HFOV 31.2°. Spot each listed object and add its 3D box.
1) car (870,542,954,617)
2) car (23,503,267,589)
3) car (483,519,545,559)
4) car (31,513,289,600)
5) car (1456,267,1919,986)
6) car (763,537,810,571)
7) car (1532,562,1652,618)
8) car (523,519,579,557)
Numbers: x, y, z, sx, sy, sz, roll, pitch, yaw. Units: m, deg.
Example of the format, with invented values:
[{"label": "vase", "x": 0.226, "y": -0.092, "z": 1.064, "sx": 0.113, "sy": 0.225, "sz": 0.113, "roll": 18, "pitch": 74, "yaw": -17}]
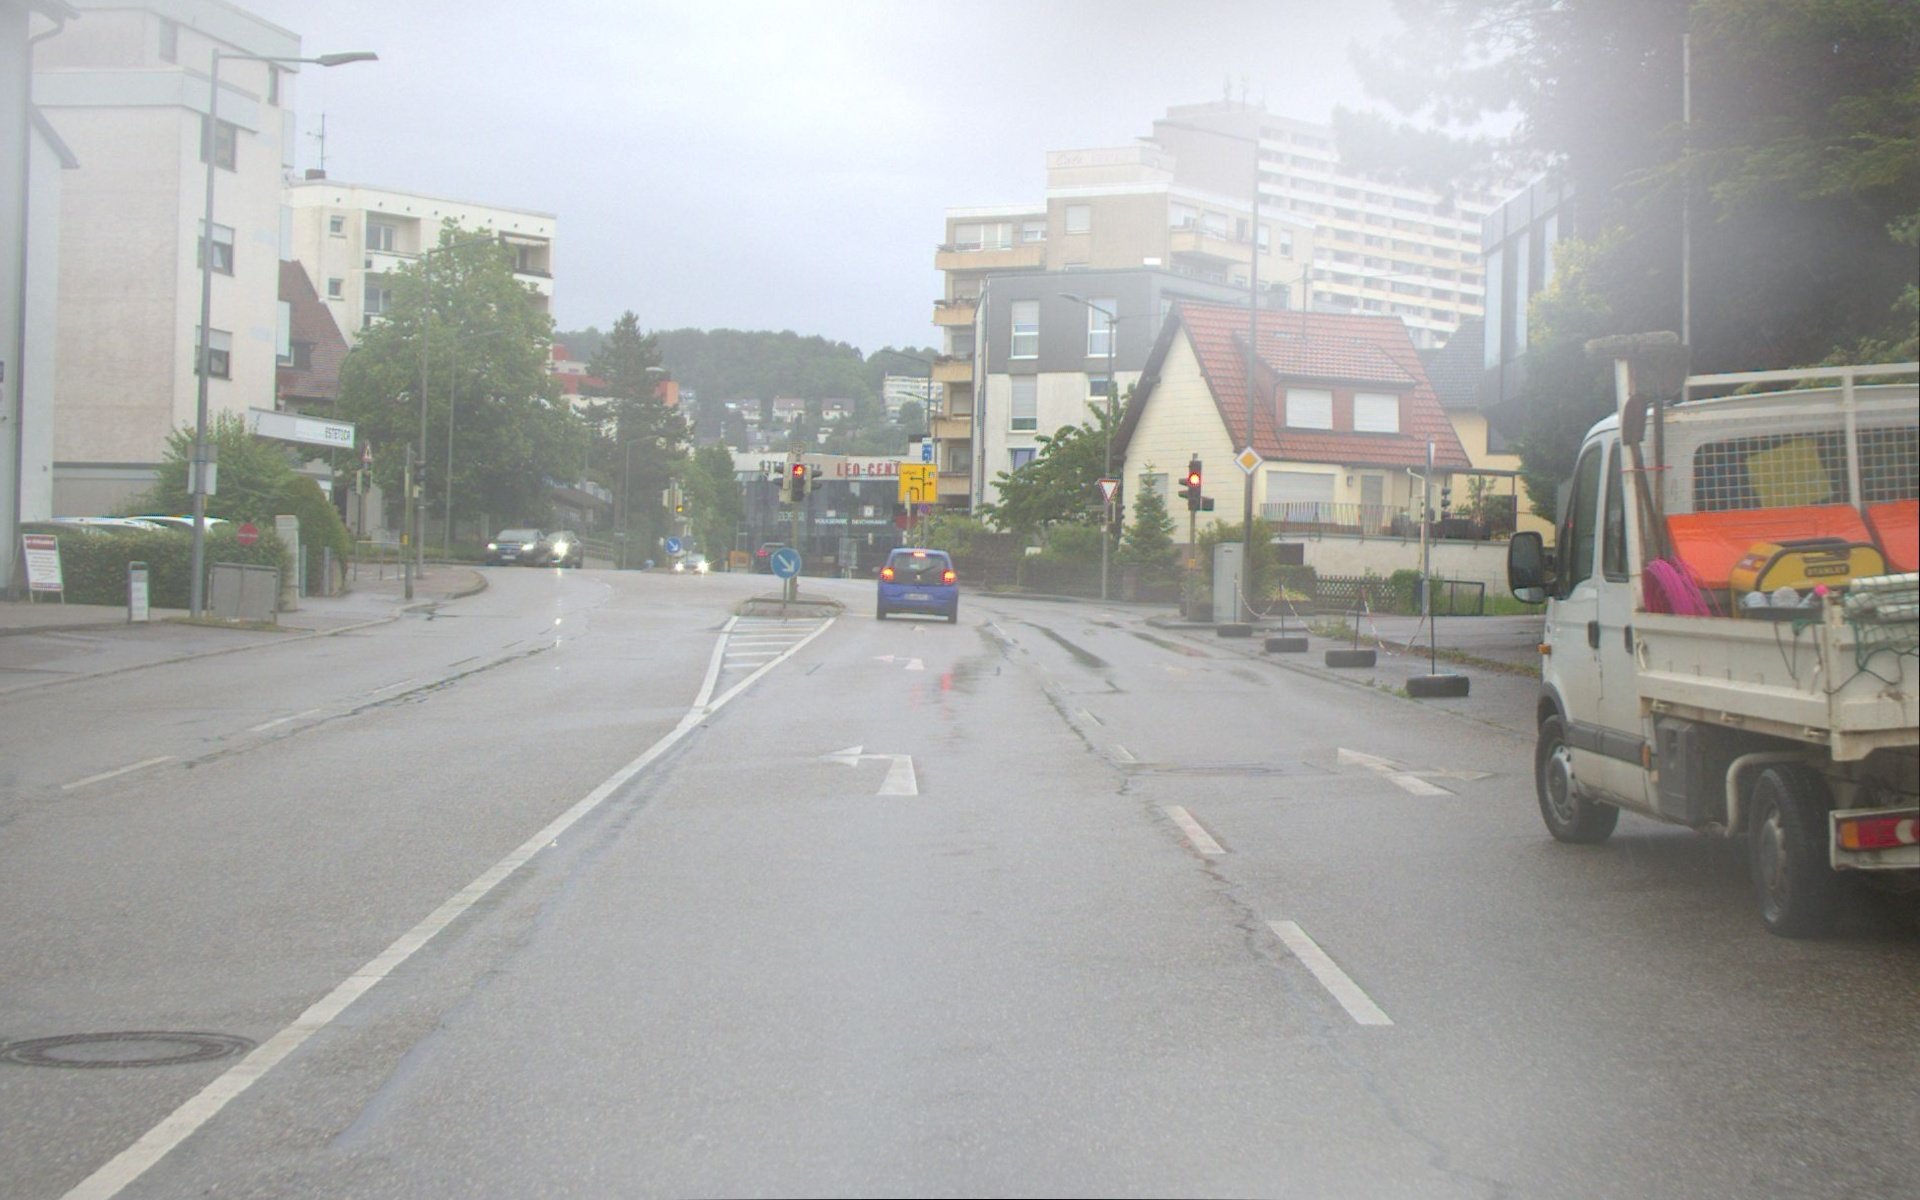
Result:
[{"label": "car", "x": -0.947, "y": -0.433, "z": 68.825, "sx": 1.579, "sy": 1.406, "sz": 3.270, "roll": 2, "pitch": 1, "yaw": 0}, {"label": "car", "x": -16.742, "y": -1.114, "z": 70.682, "sx": 4.452, "sy": 1.631, "sz": 1.938, "roll": 1, "pitch": 1, "yaw": 10}, {"label": "car", "x": -16.423, "y": -2.255, "z": 126.749, "sx": 1.778, "sy": 1.415, "sz": 3.831, "roll": 2, "pitch": 1, "yaw": -1}, {"label": "car", "x": -14.668, "y": -0.804, "z": 63.143, "sx": 4.220, "sy": 1.469, "sz": 1.904, "roll": 1, "pitch": 1, "yaw": 5}, {"label": "car", "x": 3.845, "y": 0.035, "z": 14.815, "sx": 2.391, "sy": 2.423, "sz": 6.433, "roll": 0, "pitch": 1, "yaw": -1}, {"label": "car", "x": -7.650, "y": -2.051, "z": 152.014, "sx": 1.813, "sy": 1.481, "sz": 4.189, "roll": 1, "pitch": 1, "yaw": 0}, {"label": "car", "x": 18.066, "y": -0.270, "z": 98.161, "sx": 1.743, "sy": 1.509, "sz": 3.991, "roll": 3, "pitch": 1, "yaw": 37}, {"label": "car", "x": -15.905, "y": -2.409, "z": 133.906, "sx": 1.715, "sy": 1.382, "sz": 4.021, "roll": 2, "pitch": 1, "yaw": -1}]
